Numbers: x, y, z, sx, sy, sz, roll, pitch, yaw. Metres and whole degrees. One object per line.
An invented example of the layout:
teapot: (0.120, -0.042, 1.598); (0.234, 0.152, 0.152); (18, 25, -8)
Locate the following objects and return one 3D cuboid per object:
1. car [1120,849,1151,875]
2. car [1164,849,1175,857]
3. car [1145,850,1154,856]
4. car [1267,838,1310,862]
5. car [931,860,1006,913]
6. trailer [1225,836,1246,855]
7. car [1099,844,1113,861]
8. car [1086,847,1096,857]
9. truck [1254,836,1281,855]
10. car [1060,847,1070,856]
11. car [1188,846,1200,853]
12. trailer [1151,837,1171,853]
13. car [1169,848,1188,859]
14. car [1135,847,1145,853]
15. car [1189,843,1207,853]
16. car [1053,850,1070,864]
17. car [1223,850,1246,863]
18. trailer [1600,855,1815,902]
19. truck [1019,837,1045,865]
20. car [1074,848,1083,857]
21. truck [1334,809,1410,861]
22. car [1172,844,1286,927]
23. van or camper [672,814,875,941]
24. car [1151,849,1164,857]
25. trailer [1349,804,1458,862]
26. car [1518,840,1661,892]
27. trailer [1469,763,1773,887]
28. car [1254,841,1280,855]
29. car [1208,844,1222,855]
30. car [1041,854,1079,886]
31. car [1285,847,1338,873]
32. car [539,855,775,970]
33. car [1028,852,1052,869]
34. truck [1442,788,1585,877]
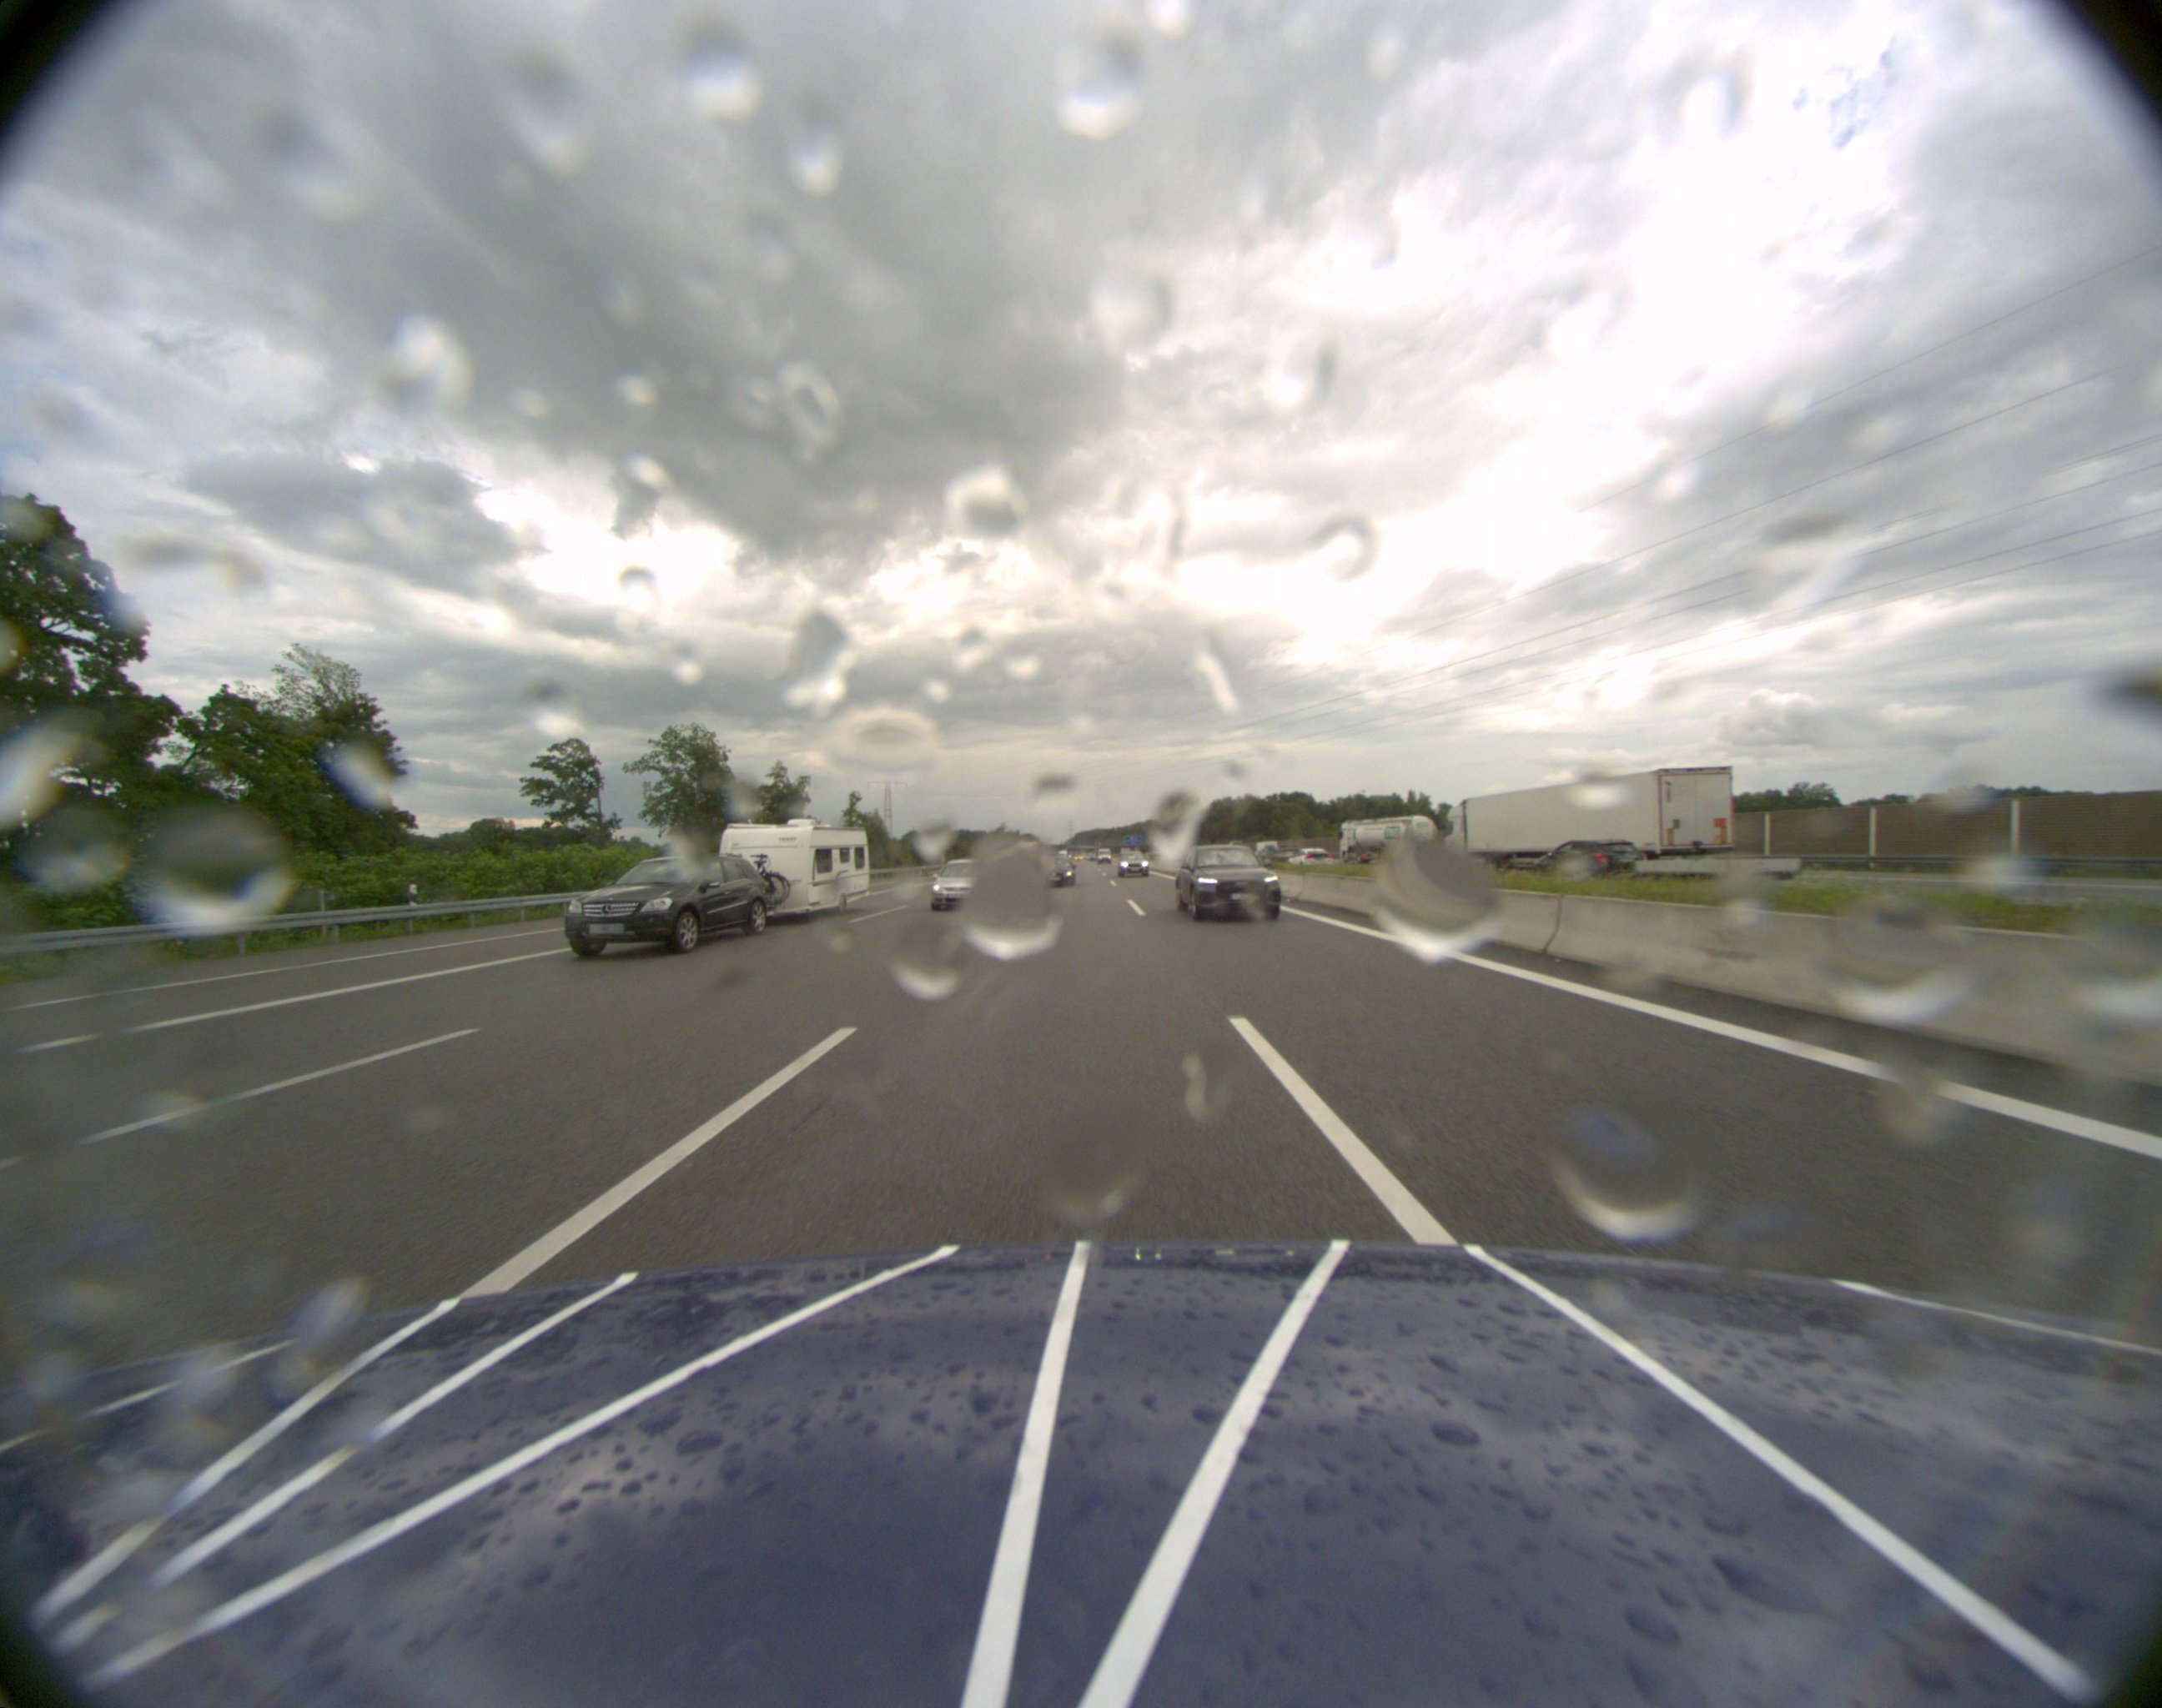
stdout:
car: (3.525, 0.492, 49.992); (1.840, 1.615, 4.915); (-2, 0, 2)
car: (18.546, -0.203, 159.240); (1.770, 1.446, 4.942); (-2, 0, -1)
car: (17.346, -0.332, 192.620); (1.770, 1.528, 5.159); (-2, 0, -1)
car: (18.218, -0.367, 66.965); (2.286, 1.956, 6.086); (-2, 0, 2)
car: (-3.420, 0.948, 23.822); (1.683, 1.437, 4.000); (-2, 0, 0)
trailer: (25.257, -1.331, 124.101); (2.253, 2.945, 4.900); (-2, 1, -1)
car: (3.825, -0.272, 117.824); (1.998, 2.524, 4.808); (-2, 1, 0)
car: (2.245, -0.438, 170.888); (1.998, 2.002, 3.999); (-2, 1, 0)
truck: (25.816, -1.122, 105.372); (2.107, 2.437, 6.263); (-2, 0, 0)
car: (-3.686, -0.489, 176.579); (1.998, 2.002, 3.999); (-2, 1, 0)
car: (26.594, -0.982, 178.873); (1.770, 1.601, 4.942); (-2, 0, -1)
trailer: (20.923, -2.272, 199.215); (3.328, 4.038, 13.285); (-2, 0, -1)
car: (14.248, -0.080, 111.184); (1.999, 1.517, 4.740); (-2, 0, -1)
car: (14.179, -1.015, 182.317); (1.770, 1.446, 5.084); (-2, 0, -1)
car: (18.450, -0.908, 120.420); (1.970, 1.446, 4.942); (-2, 0, -1)
car: (-2.508, 0.330, 97.386); (1.999, 1.701, 3.999); (-2, 0, -1)
car: (18.470, 0.306, 91.574); (1.792, 1.446, 4.564); (-2, 0, -1)
trailer: (17.380, 0.625, 21.482); (2.098, 1.064, 4.759); (-2, 0, -1)
truck: (-6.873, -0.451, 107.182); (2.870, 3.633, 9.593); (-2, 0, 0)
car: (-0.602, -0.418, 182.508); (1.998, 2.002, 3.999); (-2, 1, 0)
truck: (26.464, -1.672, 69.670); (3.669, 4.294, 8.237); (-2, 1, 0)
car: (3.395, 0.634, 18.472); (1.913, 1.681, 5.169); (-2, 1, 2)
van or camper: (-7.816, 0.495, 20.511); (2.390, 2.723, 7.208); (-2, 0, 0)
car: (14.787, -0.247, 147.352); (1.831, 1.446, 4.942); (-2, 0, -1)
trailer: (26.442, -1.625, 63.343); (3.669, 4.212, 12.466); (-2, 0, 0)
car: (17.312, 0.358, 26.162); (1.792, 1.553, 4.564); (-2, 0, -1)
trailer: (21.889, -1.024, 32.680); (3.669, 4.084, 13.398); (-2, 0, 1)
car: (21.320, -0.707, 87.168); (1.792, 1.460, 4.564); (-2, 0, -1)
car: (25.362, -0.889, 143.871); (1.770, 1.956, 4.942); (-2, 0, -1)
car: (-1.002, 0.752, 37.782); (1.717, 1.437, 4.000); (-2, 0, 0)
car: (14.032, 0.335, 46.491); (1.792, 1.446, 4.564); (-2, 0, -1)
car: (-7.794, 0.950, 14.598); (1.925, 1.766, 4.502); (-2, 0, 0)
car: (-3.671, 0.585, 68.680); (1.841, 1.437, 4.000); (-2, 0, 0)
truck: (22.028, -1.043, 39.235); (3.669, 4.024, 6.524); (-2, 1, 1)
